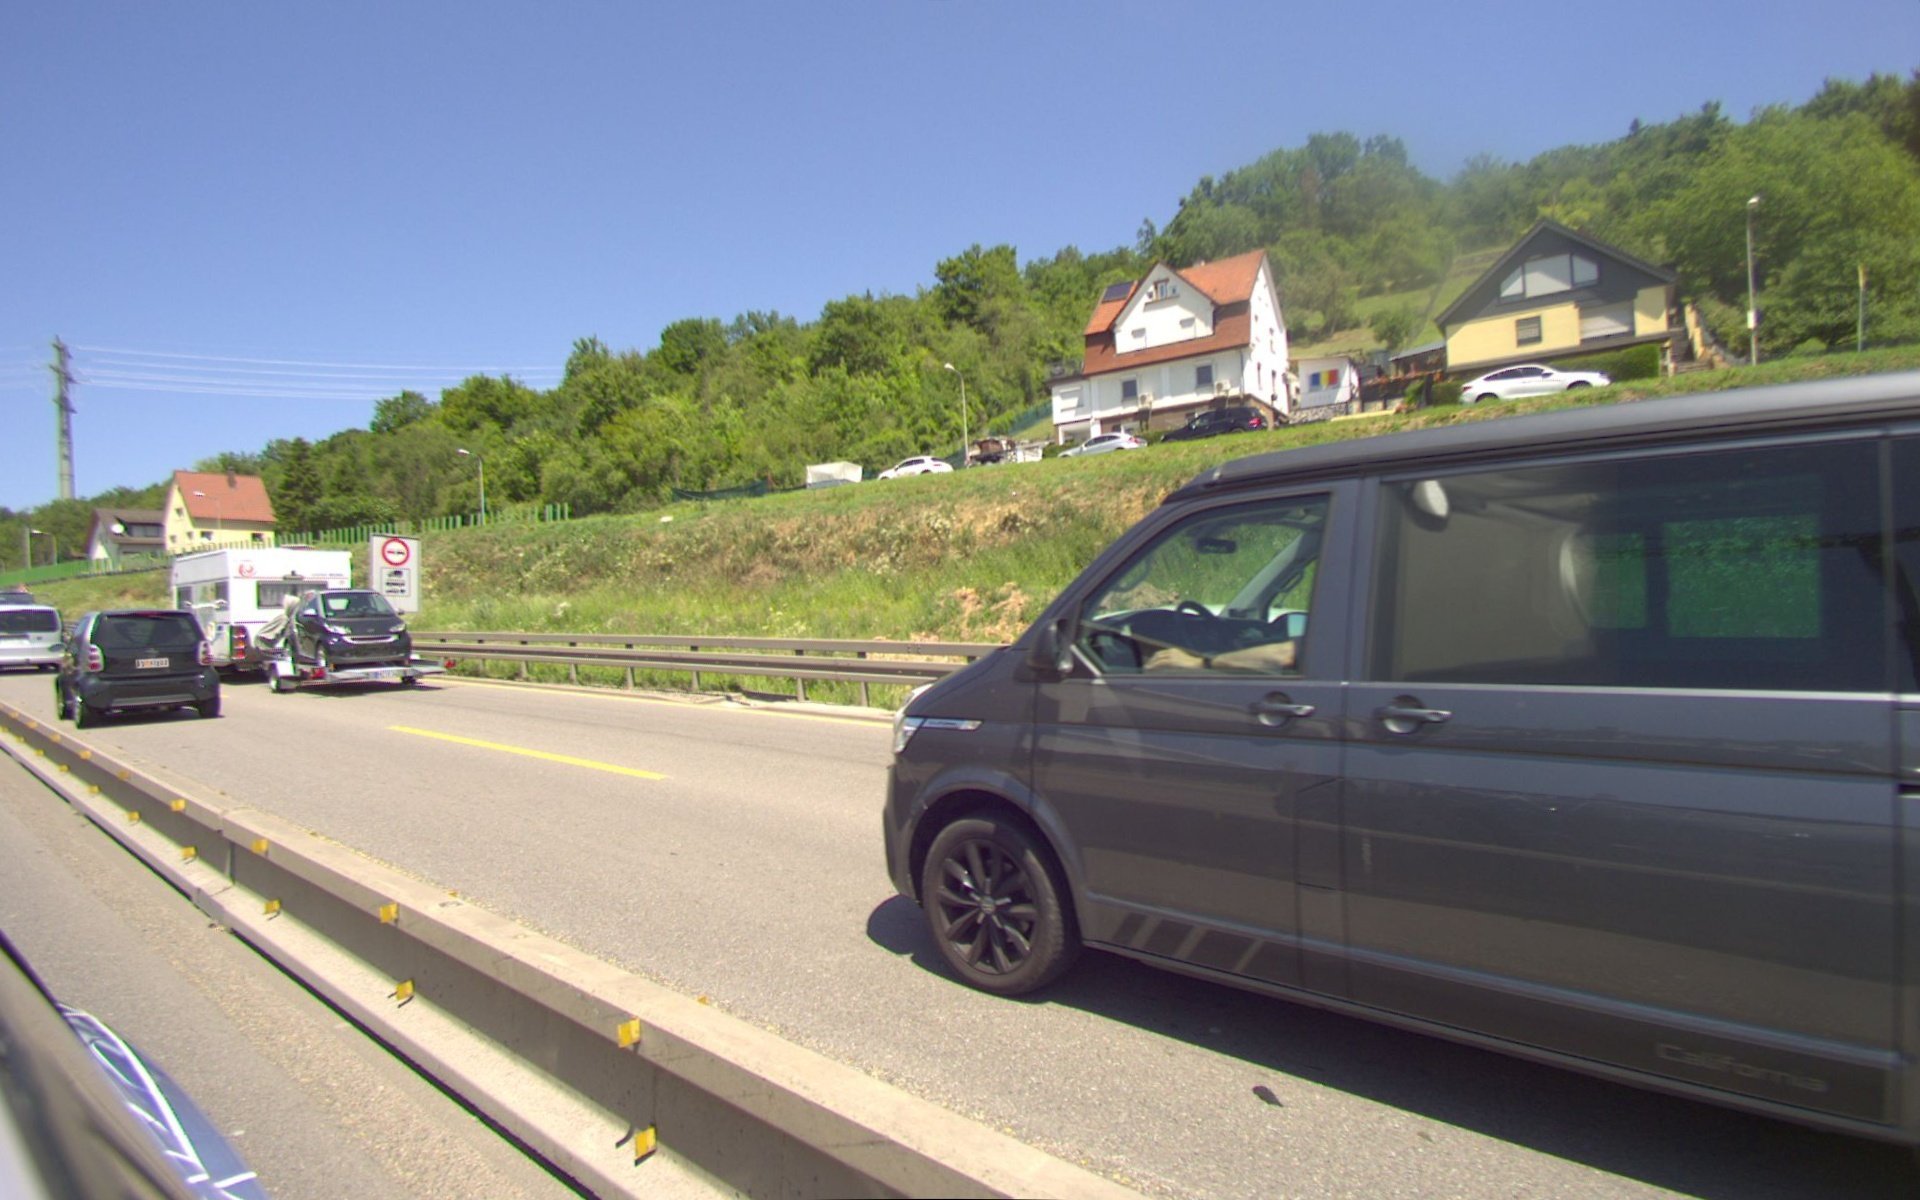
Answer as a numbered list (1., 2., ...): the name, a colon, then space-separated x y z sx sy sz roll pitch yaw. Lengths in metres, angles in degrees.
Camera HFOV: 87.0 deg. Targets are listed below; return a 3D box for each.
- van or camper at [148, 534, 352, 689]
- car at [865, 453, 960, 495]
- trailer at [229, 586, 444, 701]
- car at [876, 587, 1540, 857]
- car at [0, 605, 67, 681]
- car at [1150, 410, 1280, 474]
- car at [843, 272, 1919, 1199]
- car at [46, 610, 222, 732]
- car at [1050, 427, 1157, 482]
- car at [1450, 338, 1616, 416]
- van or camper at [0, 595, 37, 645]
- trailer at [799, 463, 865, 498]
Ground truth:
1. van or camper: -16.507 0.271 23.314 6.920 3.089 2.267 -1 -1 41
2. car: -2.421 -6.335 51.303 4.537 1.668 1.979 0 0 32
3. trailer: -12.036 0.761 19.377 5.138 1.908 2.079 -1 -1 41
4. car: 1.600 0.682 7.634 4.553 1.442 1.791 -1 0 41
5. car: -25.368 1.102 26.864 5.037 1.842 1.818 -1 -1 41
6. car: 10.731 -6.603 42.784 4.963 2.023 2.052 0 0 36
7. car: 2.019 0.367 3.162 4.902 2.029 1.891 -1 -1 40
8. car: -11.596 0.910 14.163 2.804 1.516 1.468 -1 -1 41
9. car: 6.439 -6.489 45.590 4.421 1.886 1.976 0 0 36
10. car: 20.264 -7.822 35.872 5.000 1.807 1.977 0 0 35
11. van or camper: -51.947 1.092 54.824 6.561 2.593 2.118 -1 0 41
12. trailer: -6.831 -6.351 54.119 3.026 1.527 1.888 0 0 31
